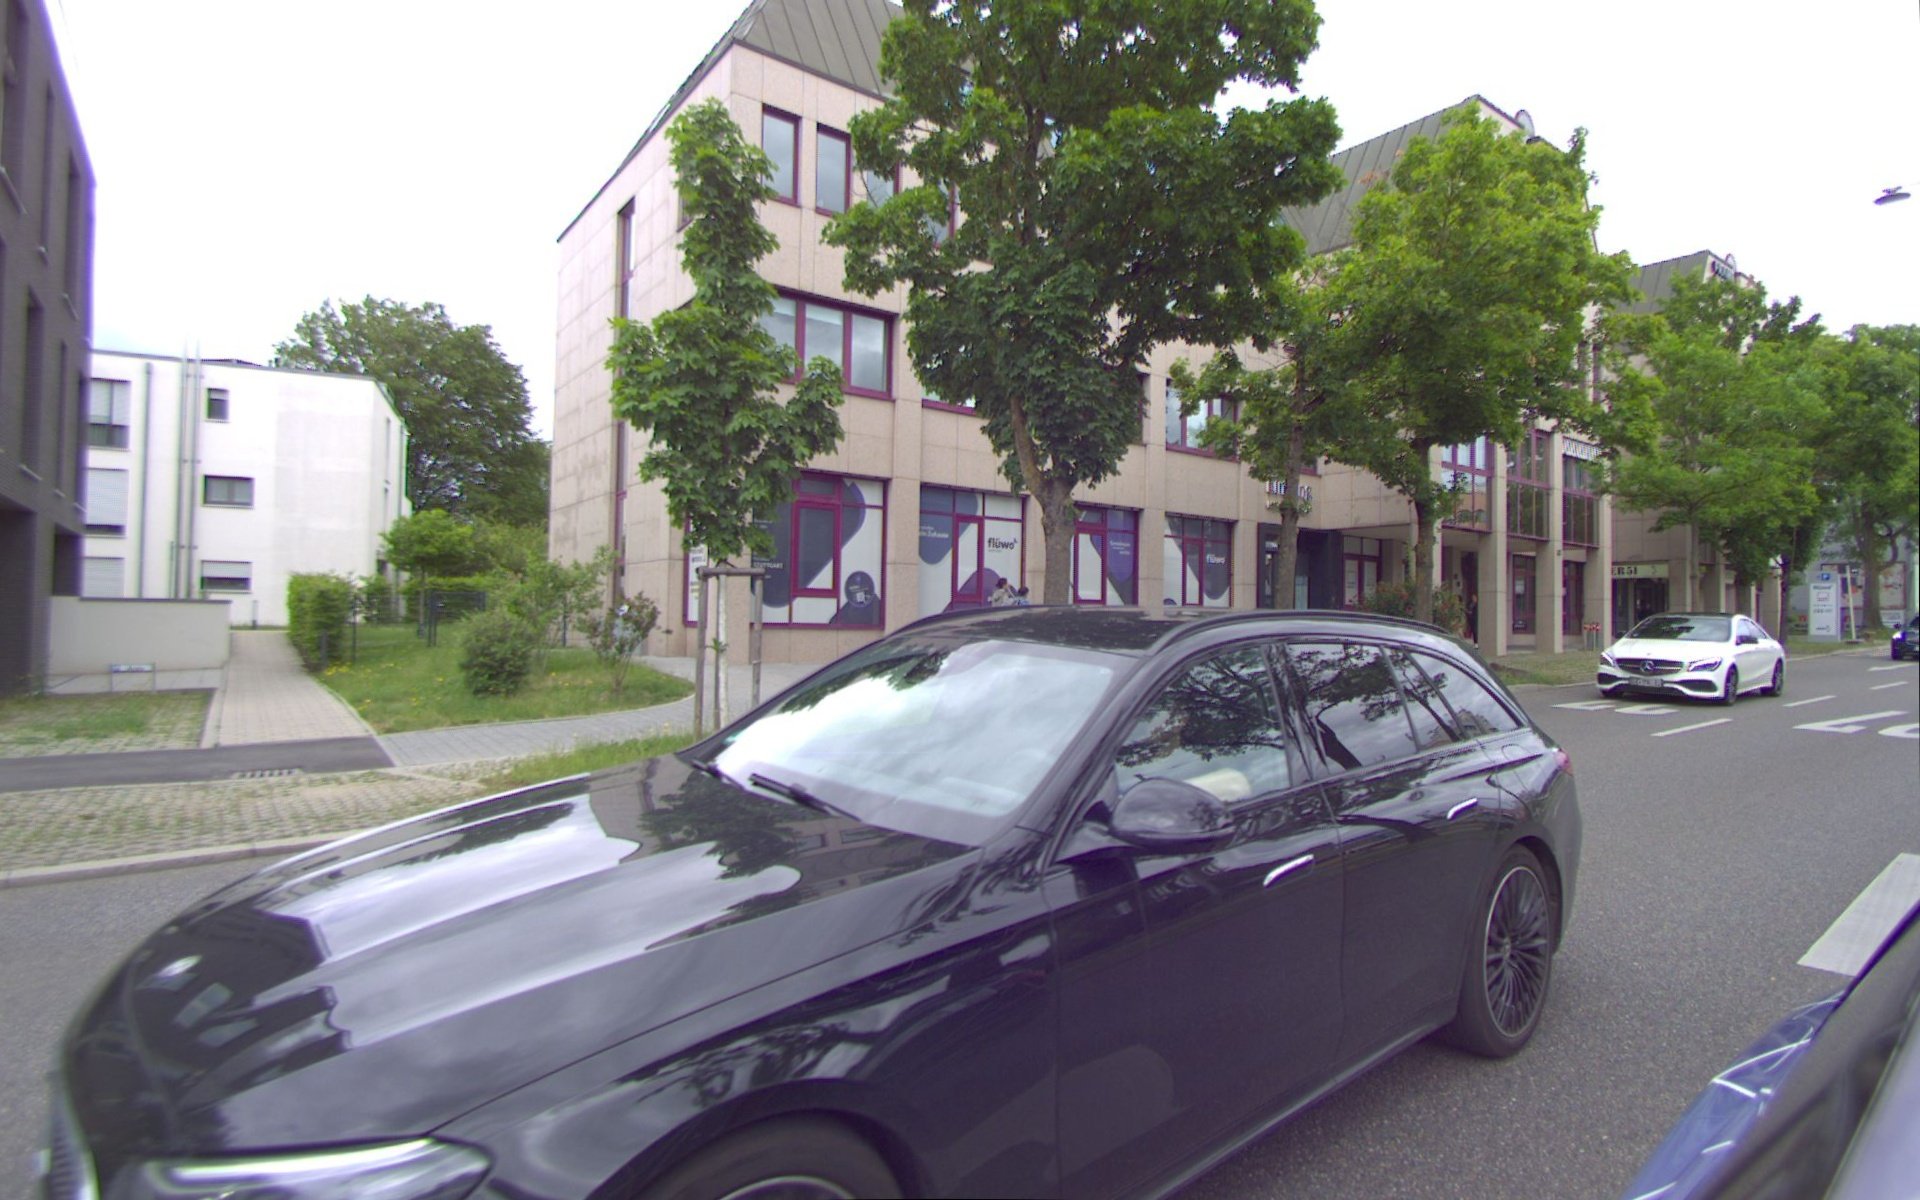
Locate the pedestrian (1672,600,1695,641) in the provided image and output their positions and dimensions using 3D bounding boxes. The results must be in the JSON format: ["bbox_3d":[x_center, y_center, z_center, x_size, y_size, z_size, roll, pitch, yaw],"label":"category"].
[{"bbox_3d":[28.180,0.780,39.412,0.534,1.569,0.563,1,1,-36],"label":"pedestrian"}]

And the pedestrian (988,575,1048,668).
[{"bbox_3d":[1.080,0.385,18.848,0.943,1.673,0.557,1,0,-35],"label":"pedestrian"}]

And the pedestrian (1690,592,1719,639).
[{"bbox_3d":[29.693,0.622,40.363,0.827,1.849,0.659,1,1,-36],"label":"pedestrian"}]

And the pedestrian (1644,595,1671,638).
[{"bbox_3d":[28.691,0.666,41.608,0.827,1.712,0.659,1,1,-36],"label":"pedestrian"}]

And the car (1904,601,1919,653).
[{"bbox_3d":[29.413,0.811,29.823,4.238,1.457,1.970,1,2,-42],"label":"car"}]

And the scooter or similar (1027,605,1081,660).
[{"bbox_3d":[1.794,0.610,19.379,0.830,1.006,0.585,1,1,-35],"label":"scooter or similar"}]

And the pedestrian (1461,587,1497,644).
[{"bbox_3d":[16.016,0.467,31.229,0.951,1.726,0.597,1,-1,-36],"label":"pedestrian"}]

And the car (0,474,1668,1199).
[{"bbox_3d":[0.225,0.644,3.187,4.883,1.505,2.057,0,0,-39],"label":"car"}]

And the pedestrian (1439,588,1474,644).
[{"bbox_3d":[15.621,0.487,31.838,0.951,1.726,0.597,1,-1,-36],"label":"pedestrian"}]

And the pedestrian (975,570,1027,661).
[{"bbox_3d":[0.791,0.293,19.520,0.814,1.721,0.569,0,-1,-36],"label":"pedestrian"}]

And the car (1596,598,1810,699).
[{"bbox_3d":[12.614,0.716,17.075,4.614,1.491,1.798,0,0,-39],"label":"car"}]
